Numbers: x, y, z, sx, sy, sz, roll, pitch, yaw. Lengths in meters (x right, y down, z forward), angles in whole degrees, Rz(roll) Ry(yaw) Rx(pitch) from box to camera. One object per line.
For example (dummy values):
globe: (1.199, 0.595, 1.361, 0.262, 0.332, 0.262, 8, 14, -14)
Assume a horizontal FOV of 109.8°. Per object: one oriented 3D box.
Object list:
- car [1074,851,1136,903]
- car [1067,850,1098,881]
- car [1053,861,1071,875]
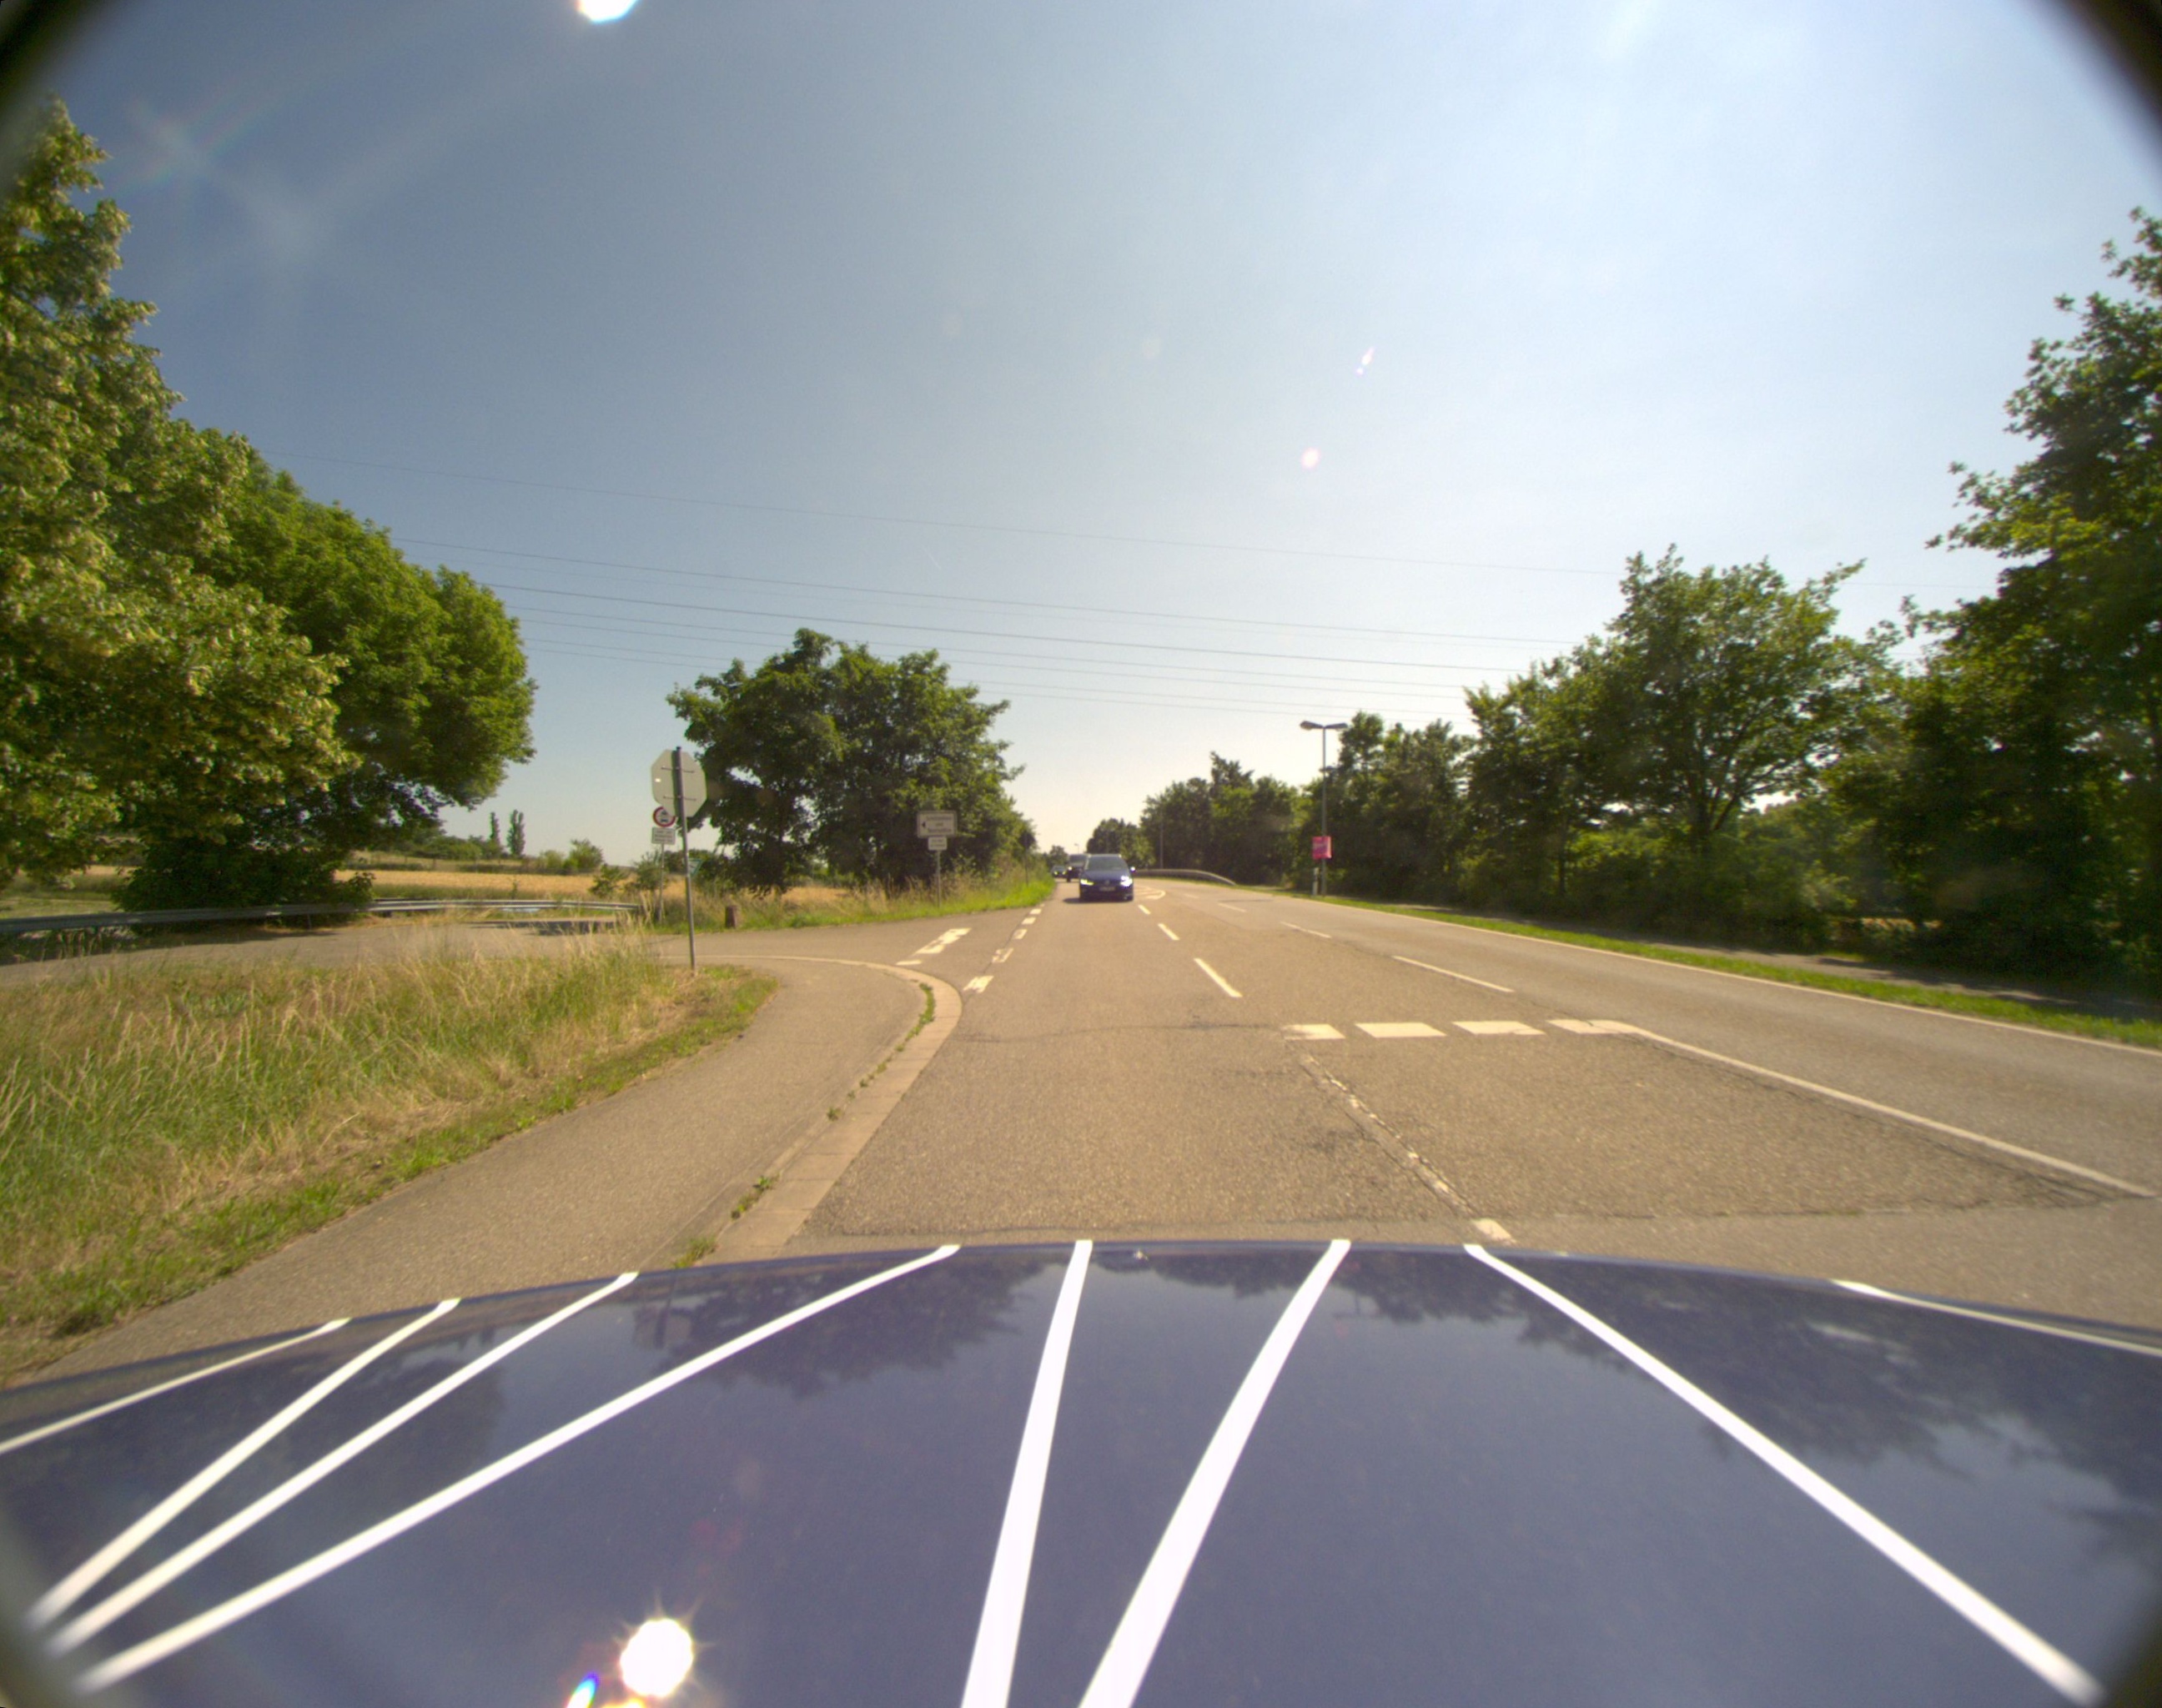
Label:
car: (0.701, 0.754, 25.181, 1.765, 1.519, 4.423, -2, -1, -1)
car: (0.059, 0.820, 52.381, 1.765, 1.953, 4.261, -2, -1, -4)
car: (-2.385, 1.690, 93.862, 1.765, 1.530, 3.682, -2, 0, -7)
